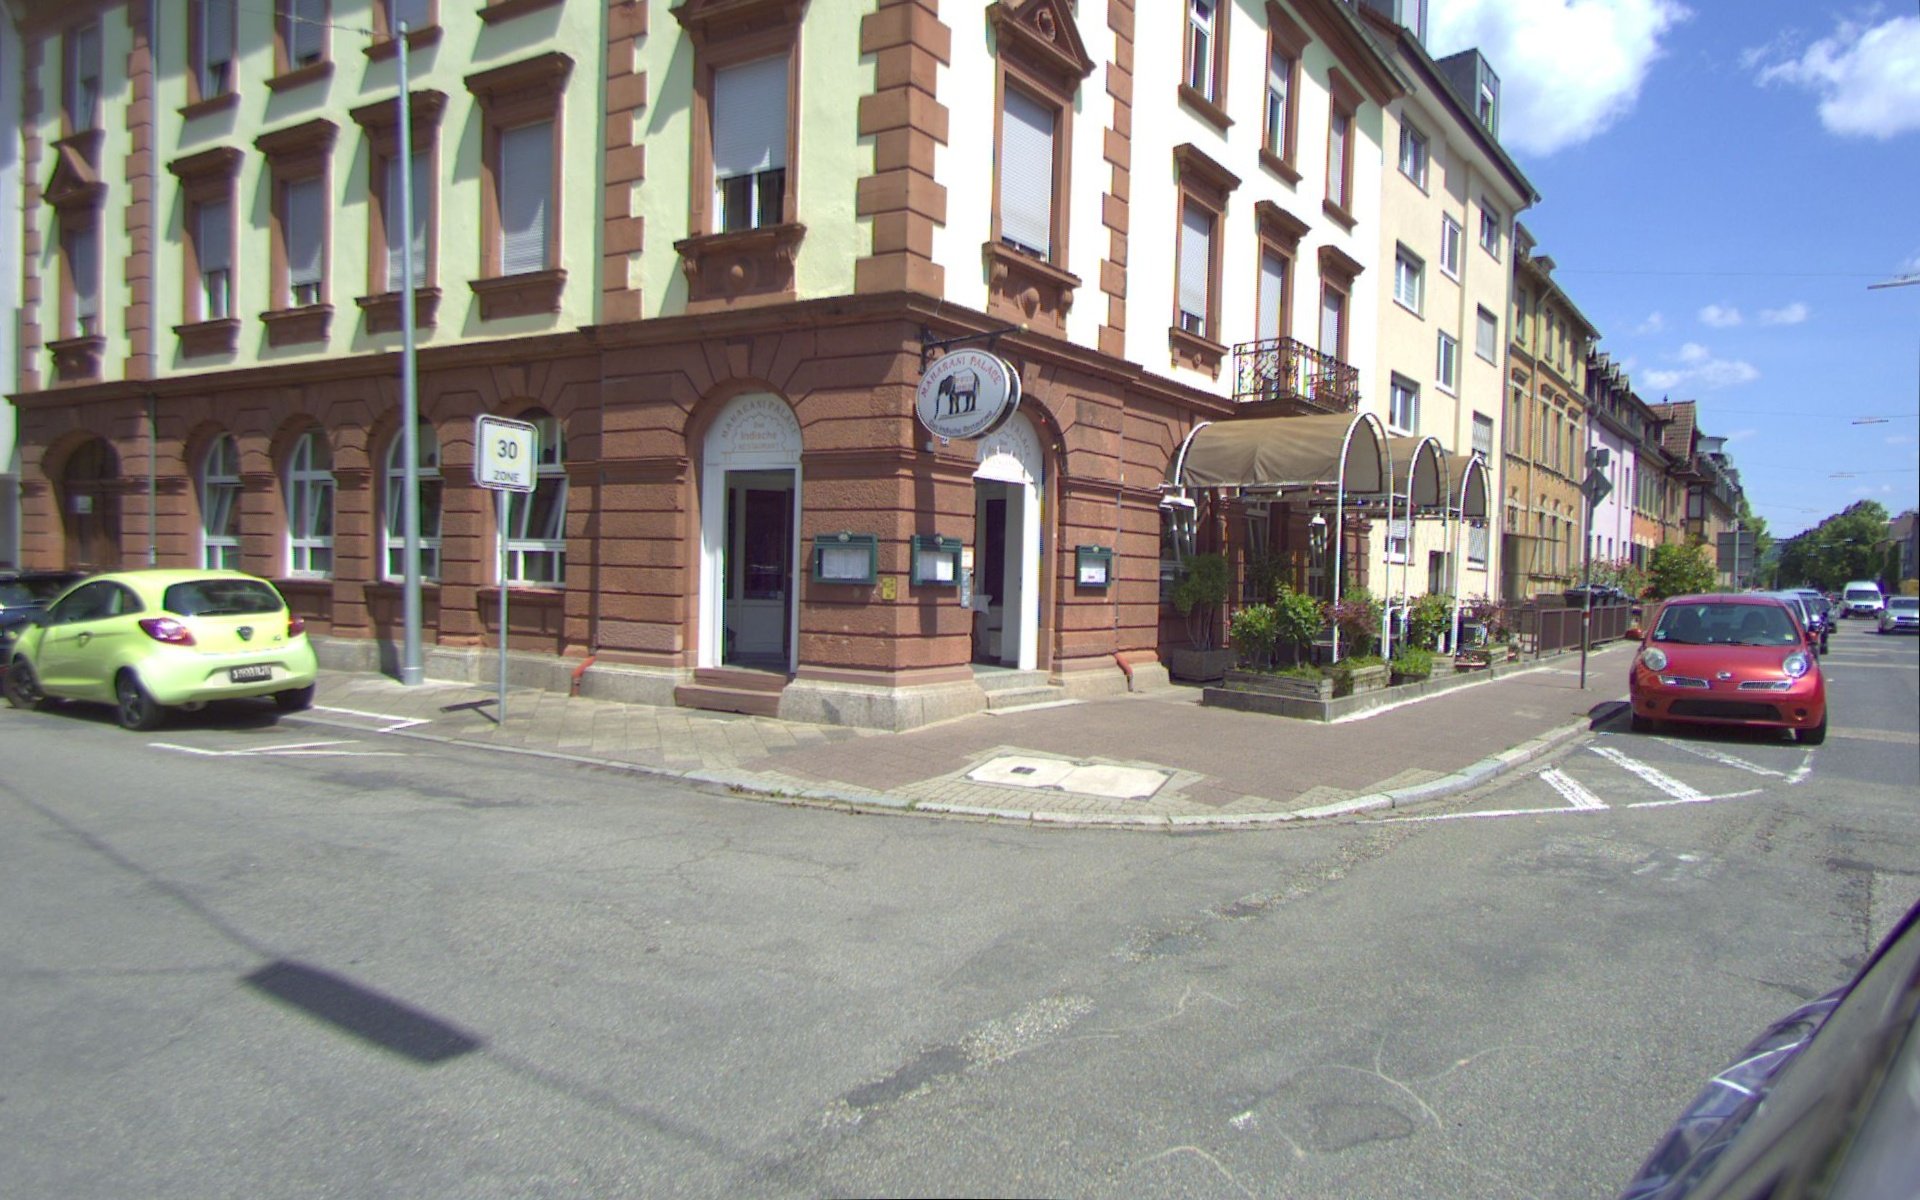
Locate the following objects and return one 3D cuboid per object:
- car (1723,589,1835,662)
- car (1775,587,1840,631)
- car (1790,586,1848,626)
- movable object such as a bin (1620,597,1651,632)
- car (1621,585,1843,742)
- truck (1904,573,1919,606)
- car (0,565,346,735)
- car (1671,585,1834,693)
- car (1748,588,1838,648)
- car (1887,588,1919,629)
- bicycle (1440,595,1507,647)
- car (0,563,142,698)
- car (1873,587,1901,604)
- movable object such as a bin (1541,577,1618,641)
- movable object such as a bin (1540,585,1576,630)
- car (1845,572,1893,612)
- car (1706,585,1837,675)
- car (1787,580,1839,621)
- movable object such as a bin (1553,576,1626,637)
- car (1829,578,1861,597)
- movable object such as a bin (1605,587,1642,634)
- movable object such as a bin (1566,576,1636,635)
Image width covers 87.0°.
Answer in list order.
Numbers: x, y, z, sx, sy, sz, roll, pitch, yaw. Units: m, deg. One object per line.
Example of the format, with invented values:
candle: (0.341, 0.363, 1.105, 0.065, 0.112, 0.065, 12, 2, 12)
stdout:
car: (18.461, 0.516, 22.747, 1.756, 1.497, 3.871, -1, 0, 42)
car: (30.513, 0.312, 36.465, 1.702, 1.497, 3.874, -1, 0, 40)
car: (34.602, 0.220, 40.790, 1.702, 1.497, 3.874, -1, 0, 40)
movable object such as a bin: (18.505, 0.391, 27.717, 0.624, 0.940, 0.603, 2, 2, 40)
car: (8.875, 0.597, 11.702, 1.753, 1.497, 3.732, -1, 0, 38)
truck: (83.648, -0.866, 87.609, 2.315, 2.774, 7.953, 2, 2, 40)
car: (-8.721, 0.398, 10.958, 3.964, 1.497, 1.787, 1, 3, 29)
car: (12.585, 0.527, 15.987, 1.756, 1.497, 3.871, -1, 0, 42)
car: (22.582, 0.447, 27.471, 1.755, 1.497, 4.356, -1, 0, 40)
car: (37.014, 0.311, 38.955, 1.899, 1.516, 4.419, 1, 1, 42)
bicycle: (10.248, 0.400, 20.171, 1.600, 0.995, 0.552, 0, 1, -38)
car: (-12.488, 0.298, 12.913, 3.964, 1.497, 1.787, 1, 3, 29)
car: (88.542, -0.431, 96.710, 1.804, 1.550, 3.941, 4, 3, 41)
movable object such as a bin: (14.555, 0.181, 23.759, 1.281, 1.413, 1.391, 2, 2, 42)
movable object such as a bin: (16.322, 0.196, 27.613, 0.721, 1.182, 0.736, 2, 2, 40)
car: (54.741, -0.494, 61.033, 1.898, 2.302, 5.590, 1, 1, 40)
car: (15.788, 0.508, 19.628, 1.756, 1.571, 4.004, -1, 0, 42)
car: (38.028, 0.020, 45.129, 1.702, 1.731, 3.874, -1, 0, 40)
movable object such as a bin: (15.453, 0.144, 24.827, 1.281, 1.413, 1.343, 2, 2, 42)
car: (71.233, -0.995, 81.446, 1.899, 1.516, 4.420, 1, 1, 41)
movable object such as a bin: (17.476, 0.269, 26.655, 0.721, 1.202, 0.736, 2, 2, 40)
movable object such as a bin: (16.357, 0.108, 25.829, 1.282, 1.428, 1.285, 2, 2, 42)
